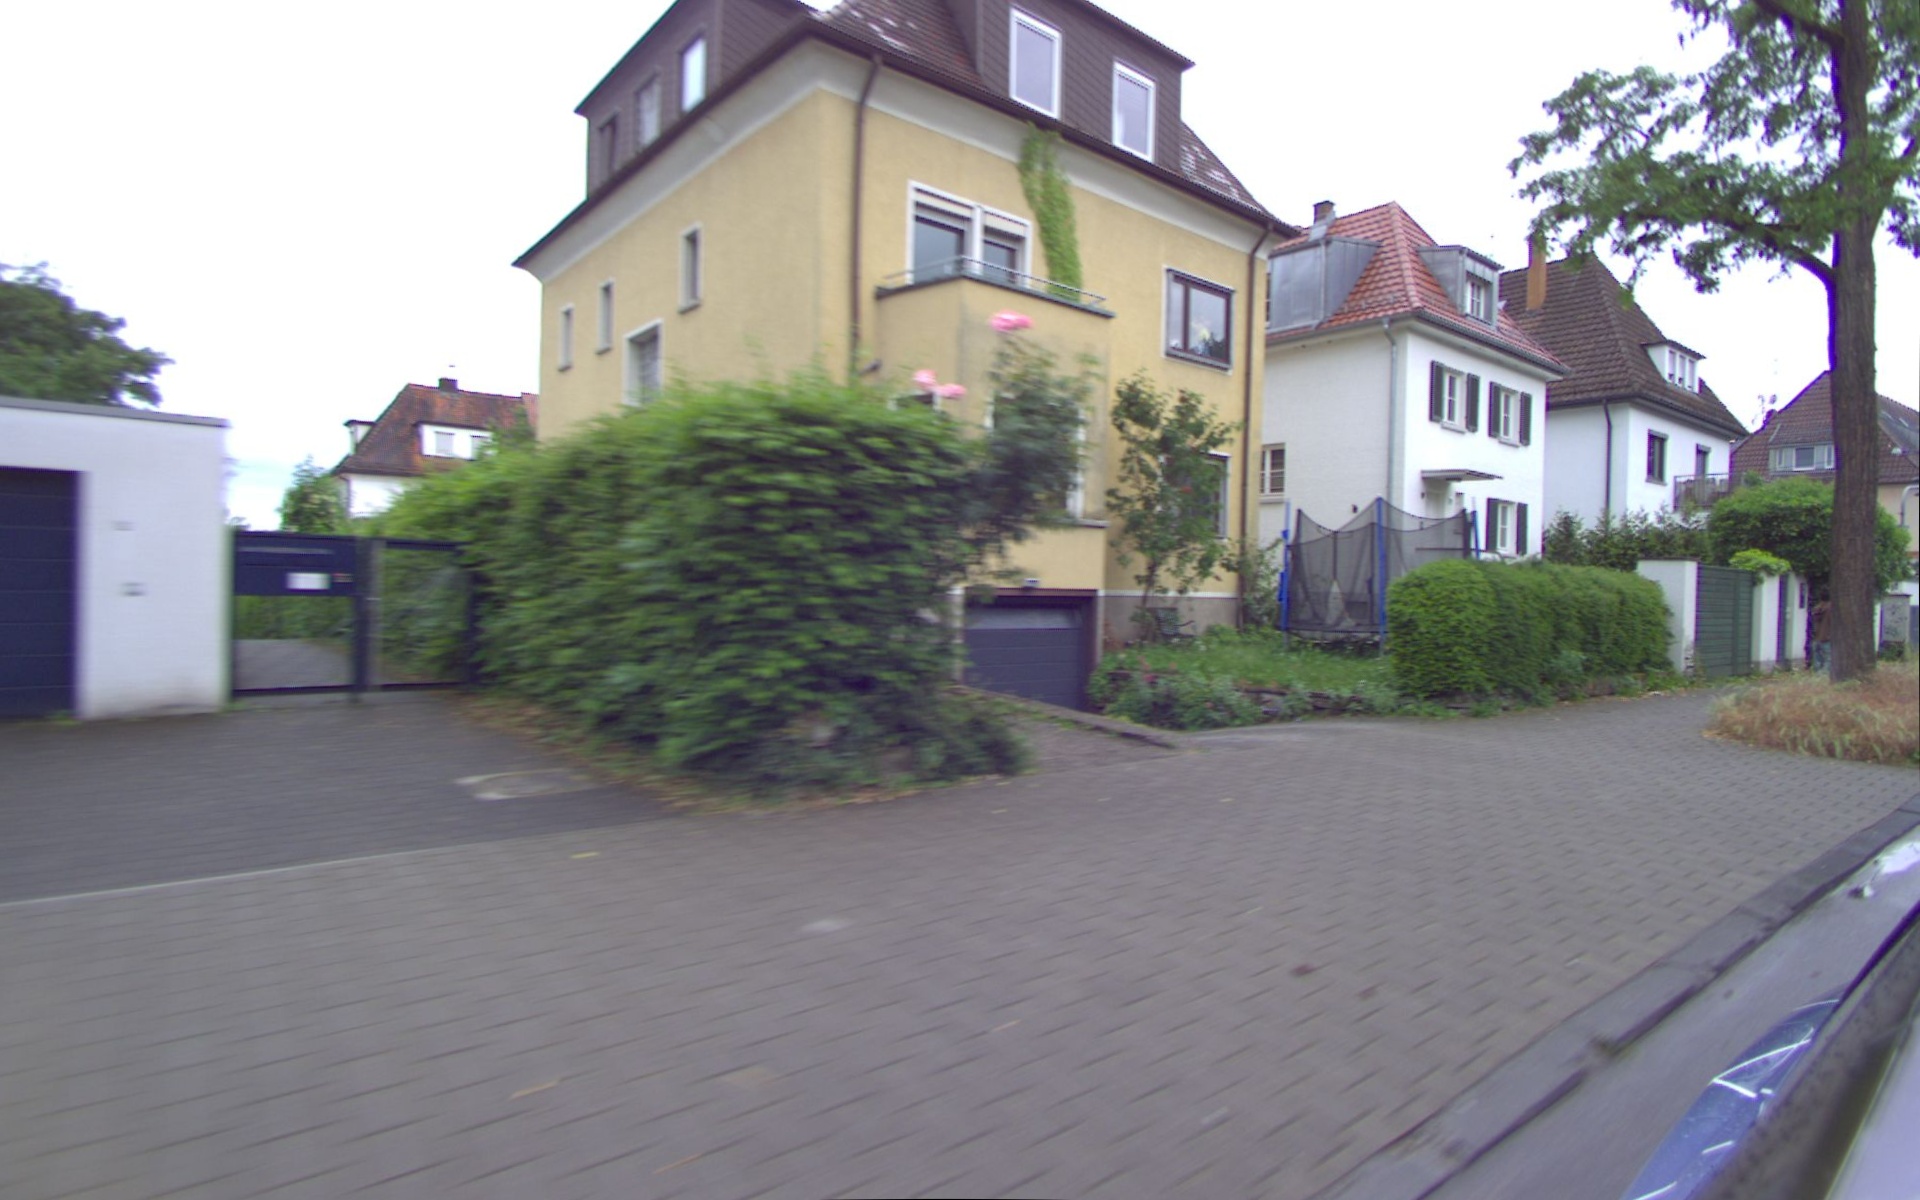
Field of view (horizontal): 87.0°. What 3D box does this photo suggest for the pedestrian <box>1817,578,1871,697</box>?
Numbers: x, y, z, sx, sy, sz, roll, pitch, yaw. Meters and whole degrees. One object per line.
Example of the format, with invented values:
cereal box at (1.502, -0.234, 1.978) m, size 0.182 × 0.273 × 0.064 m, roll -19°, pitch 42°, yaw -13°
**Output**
pedestrian at (11.758, 0.485, 13.459) m, size 0.432 × 1.553 × 0.482 m, roll 0°, pitch 0°, yaw -40°
